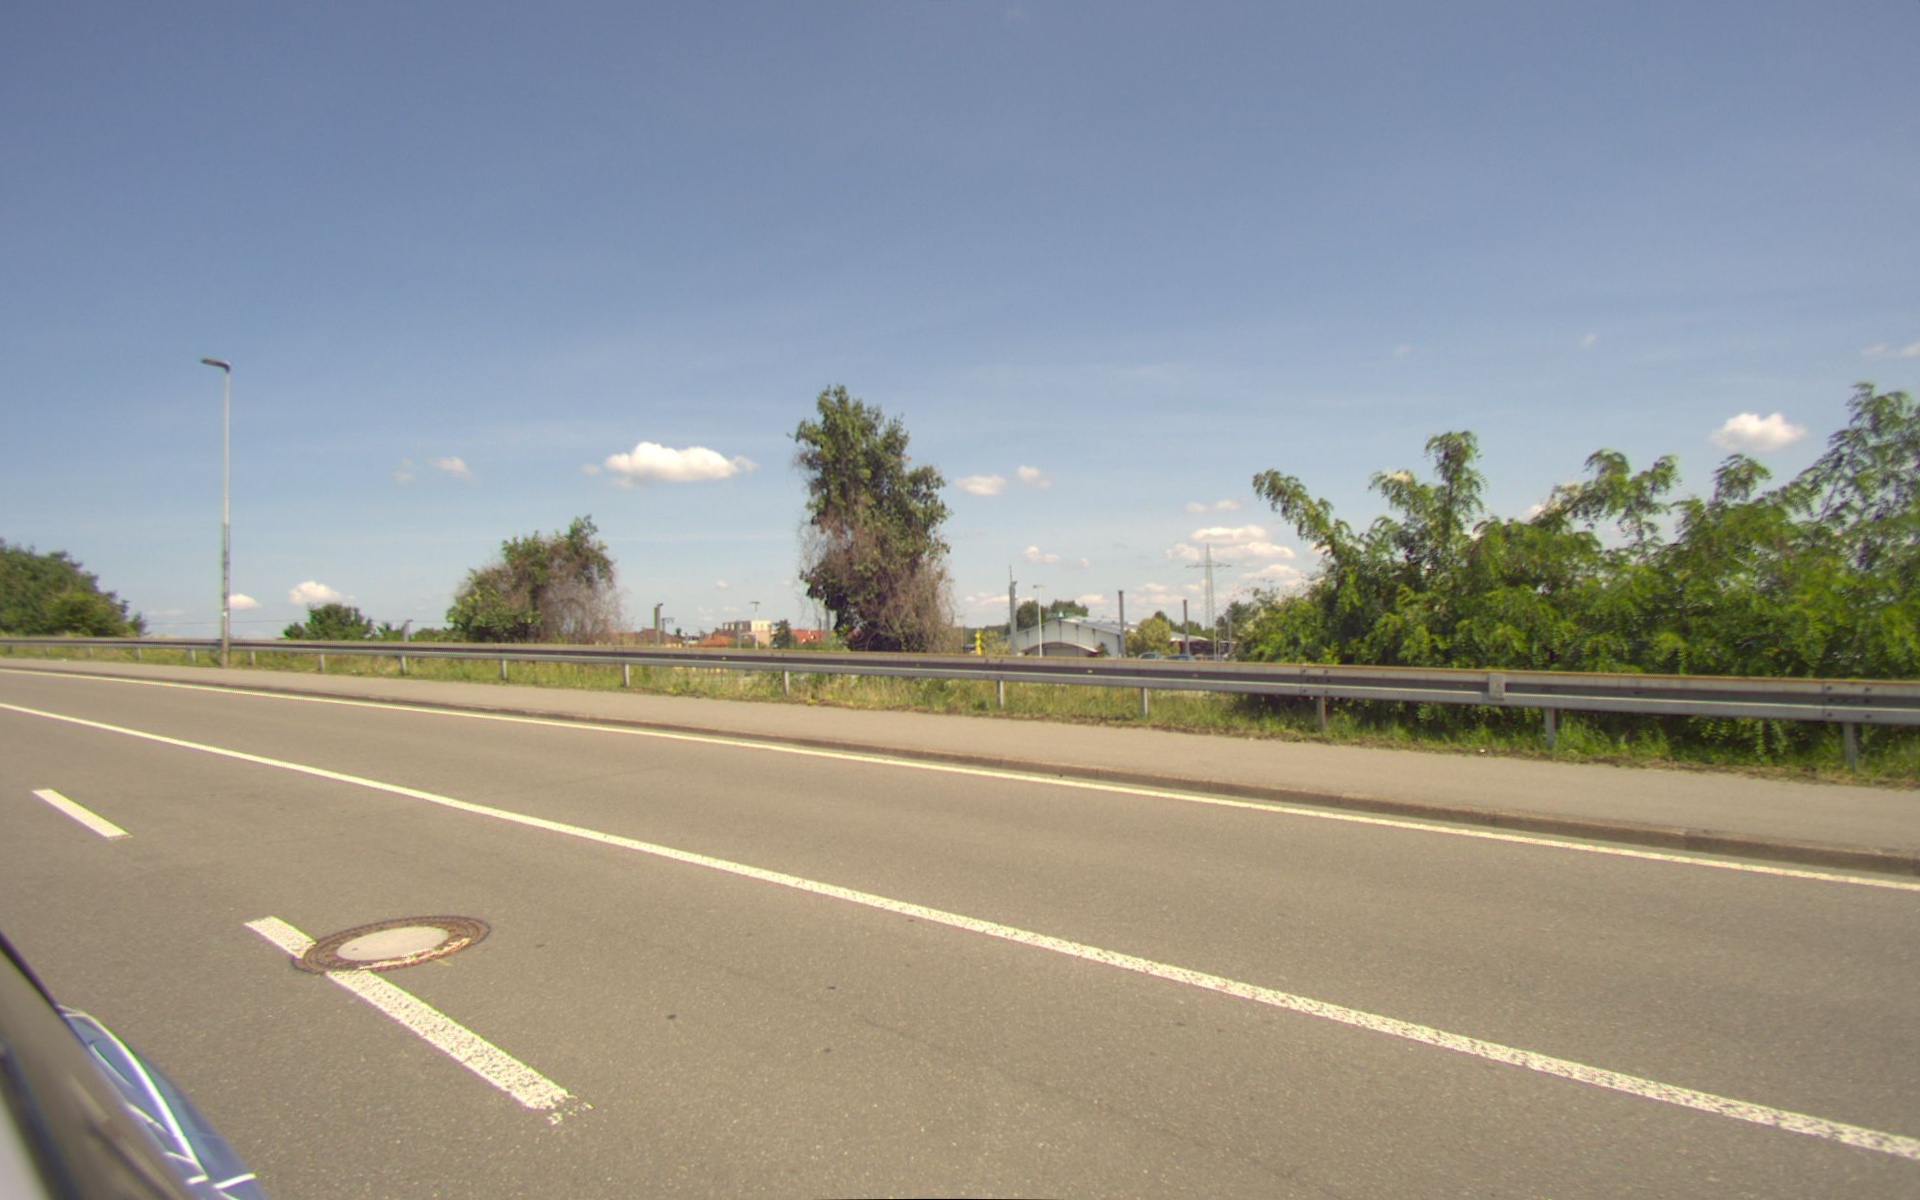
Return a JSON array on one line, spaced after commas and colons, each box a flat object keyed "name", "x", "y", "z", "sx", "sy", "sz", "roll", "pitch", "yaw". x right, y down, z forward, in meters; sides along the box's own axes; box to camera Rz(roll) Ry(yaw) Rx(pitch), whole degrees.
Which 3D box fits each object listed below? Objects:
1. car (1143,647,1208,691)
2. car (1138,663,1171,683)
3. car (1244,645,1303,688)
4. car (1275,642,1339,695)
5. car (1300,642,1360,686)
[{"name": "car", "x": 11.193, "y": 3.556, "z": 52.316, "sx": 1.993, "sy": 2.029, "sz": 3.957, "roll": -5, "pitch": -3, "yaw": 31}, {"name": "car", "x": 16.253, "y": 6.103, "z": 84.541, "sx": 1.685, "sy": 1.401, "sz": 3.777, "roll": -4, "pitch": -3, "yaw": 27}, {"name": "car", "x": 15.579, "y": 3.287, "z": 50.232, "sx": 1.992, "sy": 2.029, "sz": 3.958, "roll": -1, "pitch": -3, "yaw": 30}, {"name": "car", "x": 14.017, "y": 2.726, "z": 40.761, "sx": 1.949, "sy": 1.884, "sz": 3.966, "roll": -4, "pitch": -3, "yaw": 25}, {"name": "car", "x": 18.106, "y": 3.144, "z": 49.433, "sx": 1.992, "sy": 2.029, "sz": 3.958, "roll": -3, "pitch": -4, "yaw": 30}]
